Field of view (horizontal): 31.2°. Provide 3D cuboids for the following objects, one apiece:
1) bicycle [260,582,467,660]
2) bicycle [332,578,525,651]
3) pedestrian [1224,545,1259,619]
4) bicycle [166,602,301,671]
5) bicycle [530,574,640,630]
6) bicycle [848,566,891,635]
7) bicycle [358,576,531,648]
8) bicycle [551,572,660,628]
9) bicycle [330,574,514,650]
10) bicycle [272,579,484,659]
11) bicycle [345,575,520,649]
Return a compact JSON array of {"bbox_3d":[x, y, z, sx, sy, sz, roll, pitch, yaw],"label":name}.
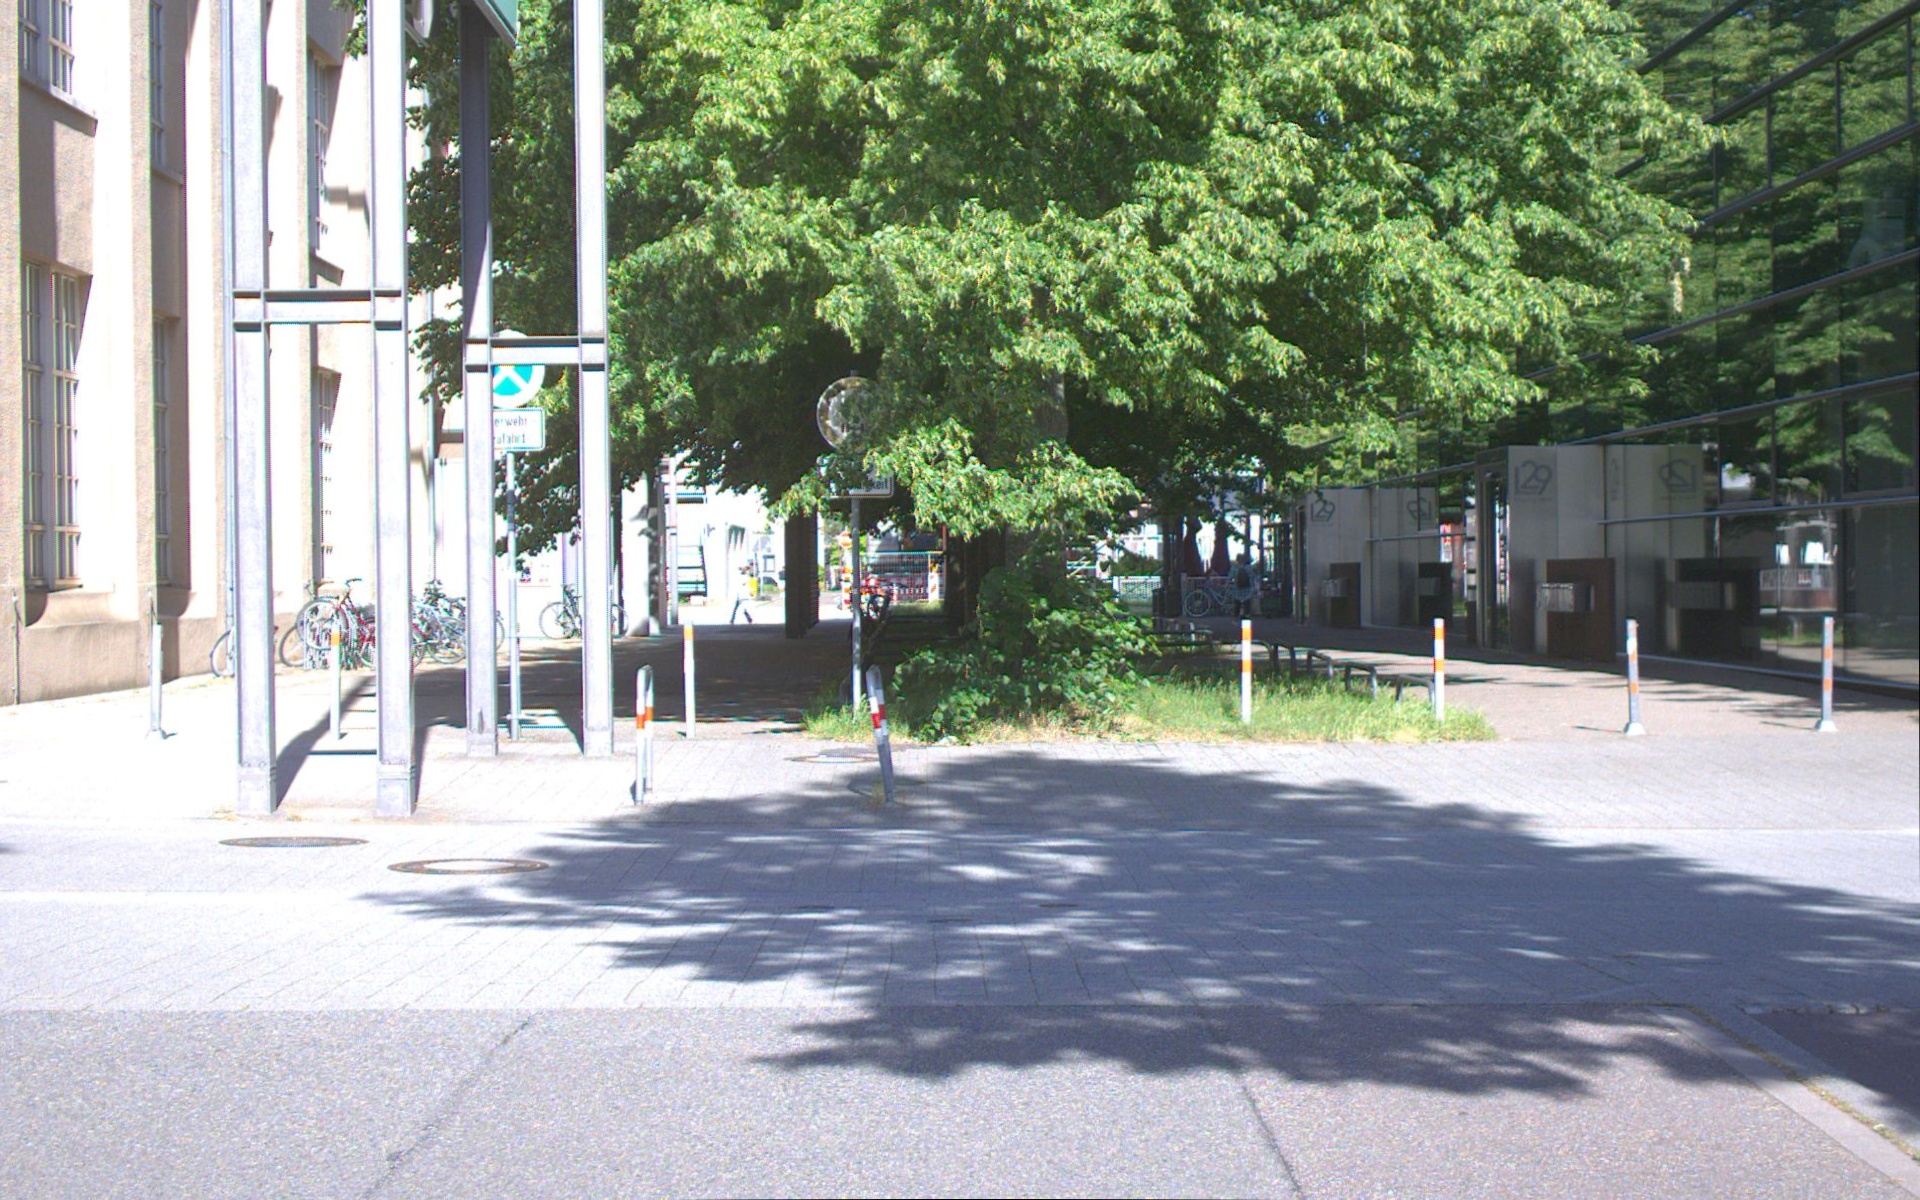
[{"bbox_3d":[-8.408,0.293,48.512,2.800,1.059,0.719,0,1,0],"label":"bicycle"},{"bbox_3d":[-7.937,0.214,51.448,2.800,1.059,0.719,0,1,-5],"label":"bicycle"},{"bbox_3d":[5.910,-0.388,72.201,0.717,1.545,0.690,0,1,6],"label":"pedestrian"},{"bbox_3d":[-9.215,0.453,43.745,0.778,0.789,2.883,0,1,7],"label":"bicycle"},{"bbox_3d":[-7.265,0.033,66.641,2.058,1.062,0.506,0,1,2],"label":"bicycle"},{"bbox_3d":[-1.604,-0.003,60.708,0.619,1.193,2.132,0,1,-5],"label":"bicycle"},{"bbox_3d":[-8.382,0.188,55.999,2.731,1.147,0.719,0,1,-5],"label":"bicycle"},{"bbox_3d":[-6.930,-0.003,67.267,2.058,1.062,0.506,0,1,2],"label":"bicycle"},{"bbox_3d":[-8.413,0.181,53.838,2.800,1.147,0.719,0,1,-5],"label":"bicycle"},{"bbox_3d":[-7.936,0.251,46.944,2.800,1.059,0.719,0,1,-5],"label":"bicycle"},{"bbox_3d":[-8.459,0.189,55.209,2.731,1.147,0.719,0,1,-5],"label":"bicycle"}]
